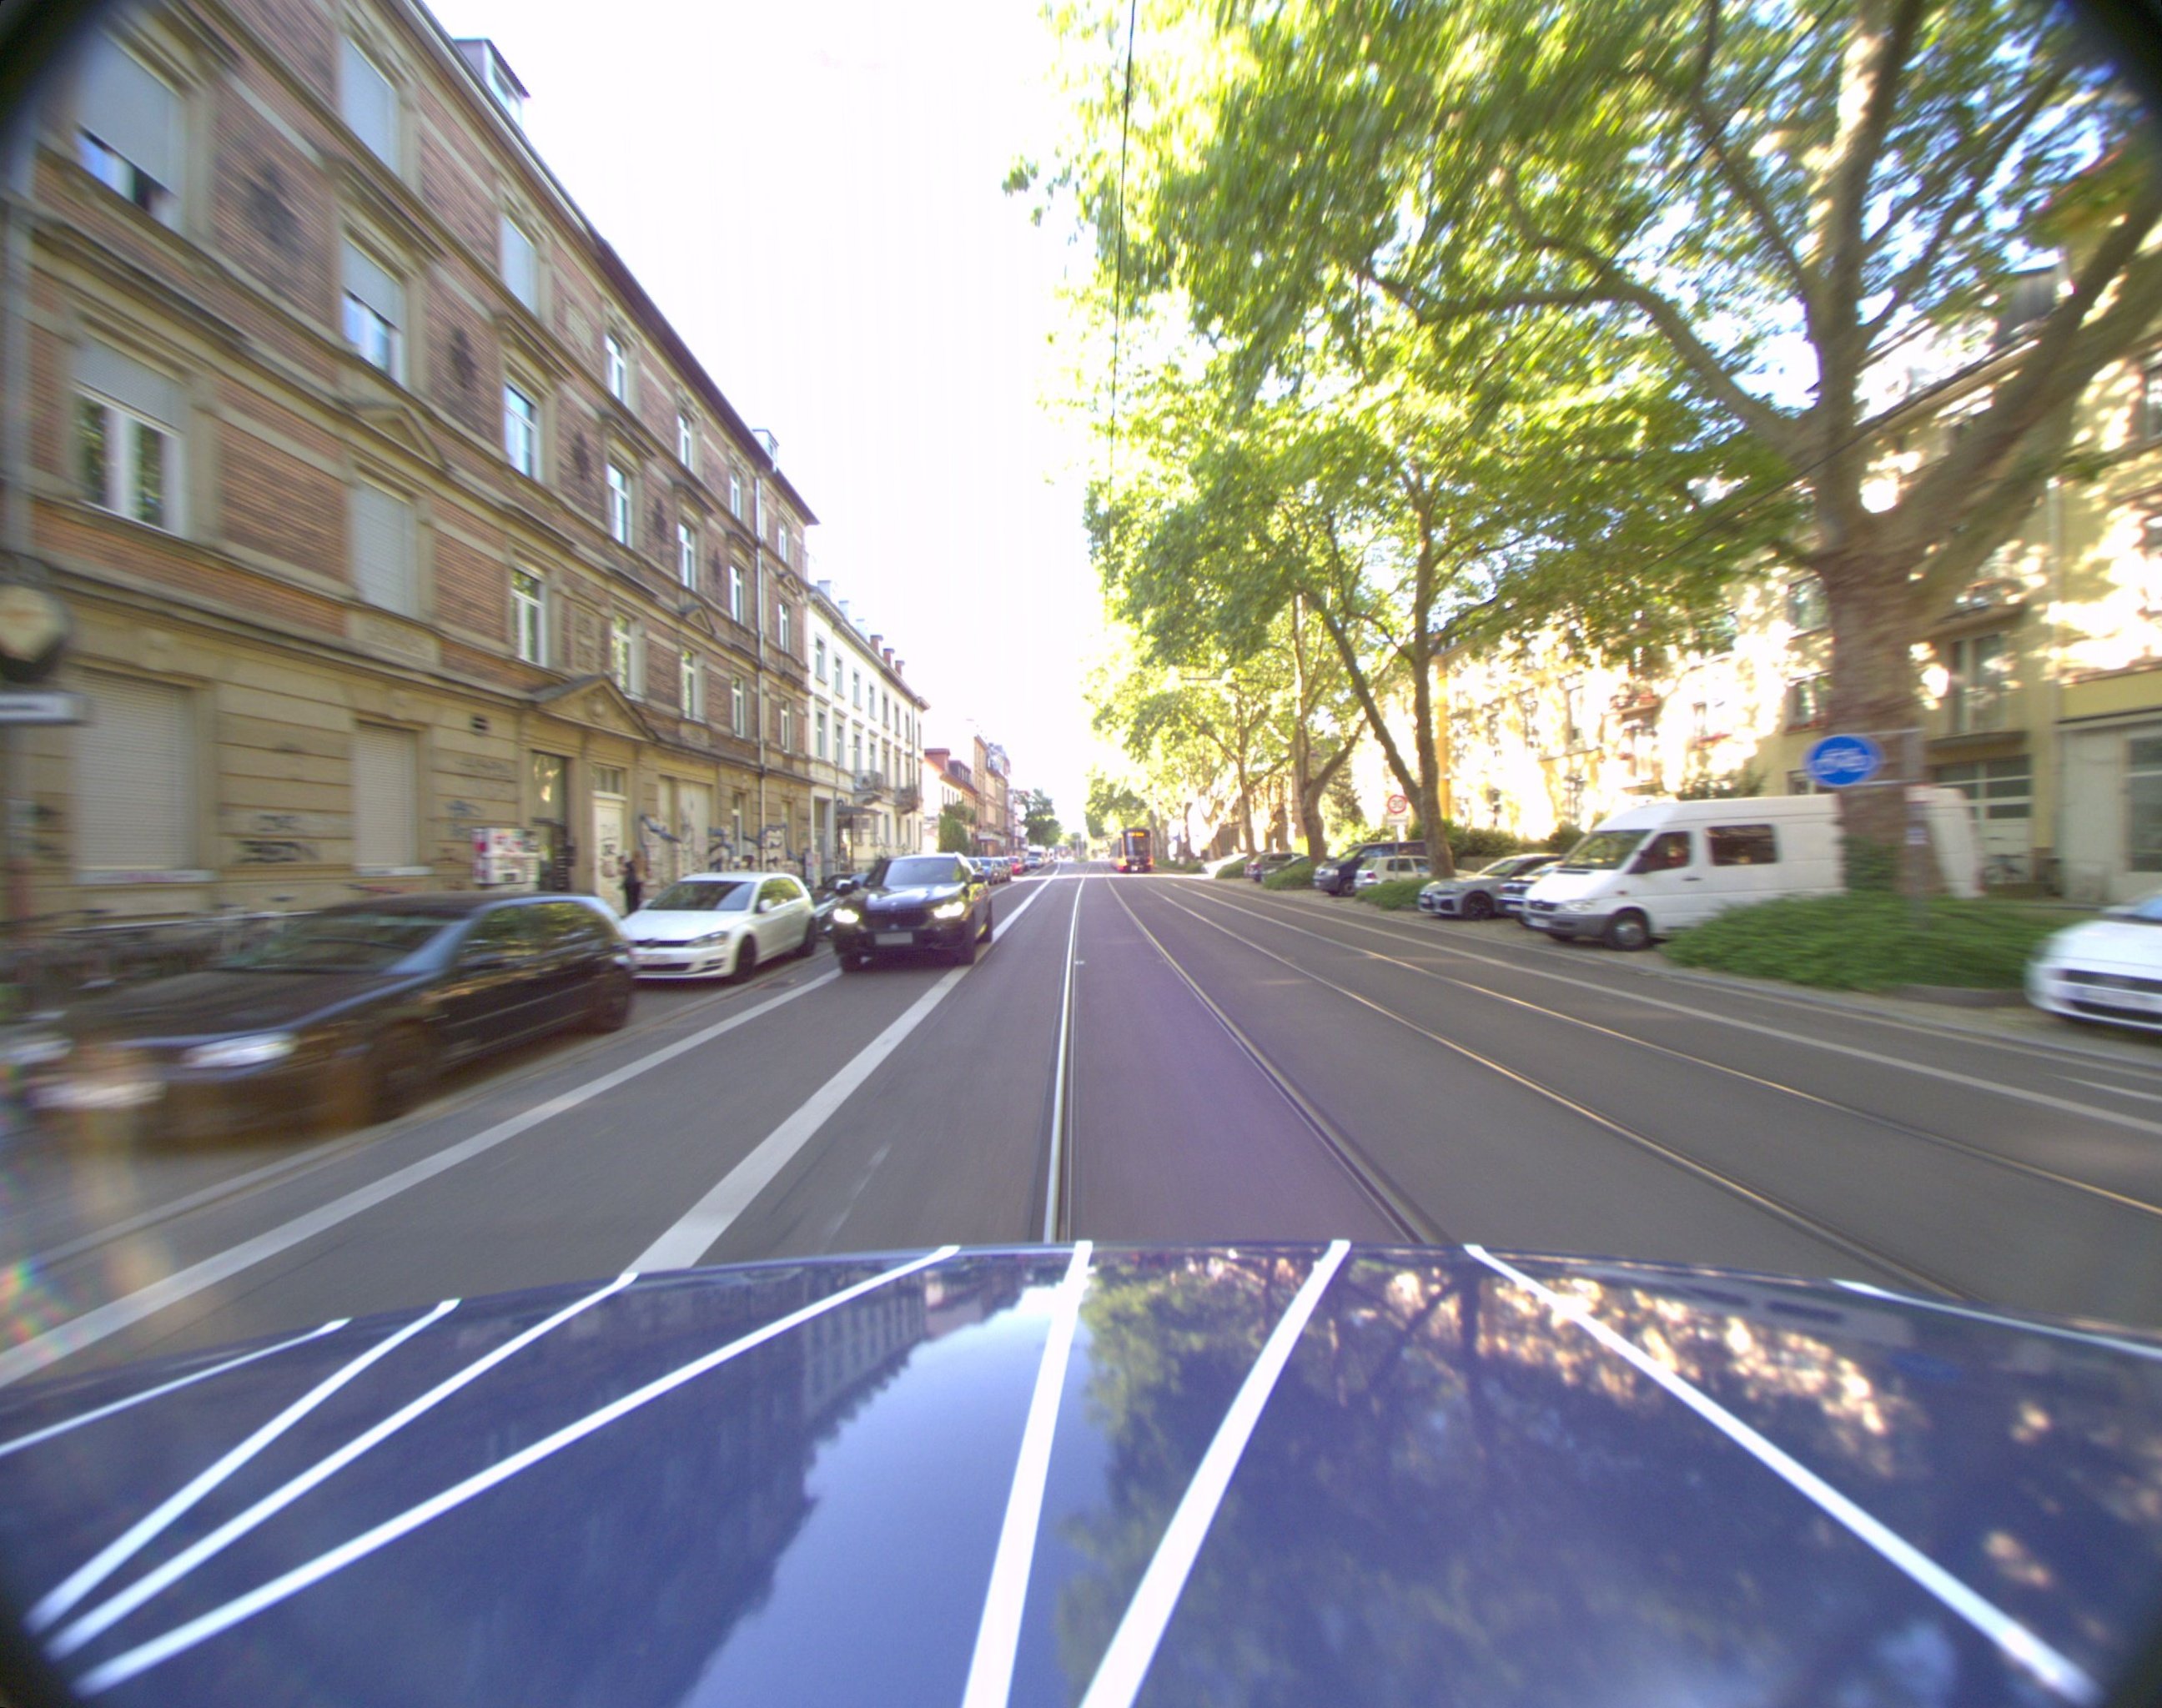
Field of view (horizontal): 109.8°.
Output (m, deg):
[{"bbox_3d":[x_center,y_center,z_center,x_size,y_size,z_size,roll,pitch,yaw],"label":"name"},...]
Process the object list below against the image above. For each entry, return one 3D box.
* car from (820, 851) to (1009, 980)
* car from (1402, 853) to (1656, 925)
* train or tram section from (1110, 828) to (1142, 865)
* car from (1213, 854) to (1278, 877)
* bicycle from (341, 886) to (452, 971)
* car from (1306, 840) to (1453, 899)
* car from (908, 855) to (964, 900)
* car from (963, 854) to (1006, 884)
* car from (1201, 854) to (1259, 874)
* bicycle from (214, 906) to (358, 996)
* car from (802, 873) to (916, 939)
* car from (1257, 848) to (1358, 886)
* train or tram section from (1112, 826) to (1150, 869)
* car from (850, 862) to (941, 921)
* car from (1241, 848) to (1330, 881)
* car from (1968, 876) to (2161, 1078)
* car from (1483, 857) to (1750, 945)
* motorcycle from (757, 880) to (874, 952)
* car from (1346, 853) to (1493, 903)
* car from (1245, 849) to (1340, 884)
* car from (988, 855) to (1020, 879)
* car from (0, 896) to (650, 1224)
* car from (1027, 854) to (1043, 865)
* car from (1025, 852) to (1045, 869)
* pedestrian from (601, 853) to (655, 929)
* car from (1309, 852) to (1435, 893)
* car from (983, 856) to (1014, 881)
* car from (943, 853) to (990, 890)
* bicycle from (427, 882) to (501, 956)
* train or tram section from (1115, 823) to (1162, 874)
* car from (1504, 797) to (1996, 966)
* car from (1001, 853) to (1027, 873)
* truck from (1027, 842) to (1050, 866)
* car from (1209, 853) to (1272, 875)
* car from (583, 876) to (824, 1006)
[{"bbox_3d":[-2.483,0.865,12.622,1.949,1.694,4.631,-2,-1,2],"label":"car"},{"bbox_3d":[10.751,0.812,18.515,4.943,1.437,2.000,-2,0,0],"label":"car"},{"bbox_3d":[4.845,-0.838,83.820,2.944,3.598,12.409,-2,1,1],"label":"train or tram section"},{"bbox_3d":[10.923,0.755,50.563,3.998,1.422,1.527,-1,1,-3],"label":"car"},{"bbox_3d":[-10.314,1.088,11.502,0.379,1.147,1.372,-1,0,2],"label":"bicycle"},{"bbox_3d":[10.944,0.568,28.075,4.639,1.896,1.922,-2,0,-1],"label":"car"},{"bbox_3d":[-5.375,0.839,28.363,1.514,1.534,2.820,1,1,0],"label":"car"},{"bbox_3d":[-5.379,0.803,42.701,1.729,1.497,3.907,4,1,1],"label":"car"},{"bbox_3d":[11.016,0.745,56.213,3.998,1.367,1.411,-1,1,-3],"label":"car"},{"bbox_3d":[-10.245,1.216,9.853,0.379,0.995,1.372,-1,0,2],"label":"bicycle"},{"bbox_3d":[-5.179,1.156,18.177,1.653,1.265,3.724,1,1,-1],"label":"car"},{"bbox_3d":[11.081,0.622,37.405,4.366,1.603,2.000,-2,0,0],"label":"car"},{"bbox_3d":[4.618,-0.670,71.978,2.944,3.598,11.257,-2,1,1],"label":"train or tram section"},{"bbox_3d":[-5.242,1.014,21.915,1.610,1.444,3.741,1,1,1],"label":"car"},{"bbox_3d":[11.308,0.591,42.232,4.366,1.603,2.000,-2,0,0],"label":"car"},{"bbox_3d":[10.291,0.970,6.395,3.779,1.509,1.747,-1,1,-4],"label":"car"},{"bbox_3d":[10.838,0.911,15.591,4.156,1.489,1.904,-3,1,-2],"label":"car"},{"bbox_3d":[-5.253,1.198,15.084,2.143,1.281,0.642,-1,1,-22],"label":"motorcycle"},{"bbox_3d":[11.279,0.779,25.511,4.068,1.437,1.869,-2,0,0],"label":"car"},{"bbox_3d":[11.037,0.637,39.813,4.366,1.603,2.000,-2,0,0],"label":"car"},{"bbox_3d":[-5.162,0.850,51.609,1.729,1.559,3.686,1,0,1],"label":"car"},{"bbox_3d":[-5.284,1.182,5.936,1.653,1.412,4.058,1,1,-3],"label":"car"},{"bbox_3d":[-5.663,0.672,93.451,1.702,1.324,3.686,1,0,1],"label":"car"},{"bbox_3d":[-4.474,0.597,74.608,1.702,1.559,3.686,1,0,1],"label":"car"},{"bbox_3d":[-10.070,0.807,16.917,0.716,1.647,0.766,-1,1,-1],"label":"pedestrian"},{"bbox_3d":[11.591,0.732,30.404,4.366,1.400,1.658,-2,0,0],"label":"car"},{"bbox_3d":[-5.116,0.868,47.461,1.542,1.497,3.359,1,0,1],"label":"car"},{"bbox_3d":[-5.387,0.786,36.148,1.635,1.497,3.906,4,1,-1],"label":"car"},{"bbox_3d":[-10.359,1.065,12.797,0.274,1.147,1.139,-1,1,2],"label":"bicycle"},{"bbox_3d":[4.418,-0.496,60.812,2.944,3.598,11.061,-2,1,1],"label":"train or tram section"},{"bbox_3d":[11.192,0.442,13.070,6.618,2.393,2.000,-2,0,0],"label":"car"},{"bbox_3d":[-5.547,0.726,63.163,1.702,1.559,3.686,1,0,1],"label":"car"},{"bbox_3d":[-6.015,-0.061,108.313,2.842,3.145,7.291,-2,1,-1],"label":"truck"},{"bbox_3d":[11.166,0.672,53.240,3.998,1.422,1.600,-1,1,-3],"label":"car"},{"bbox_3d":[-5.307,1.130,11.327,1.606,1.412,4.012,1,1,-1],"label":"car"}]
